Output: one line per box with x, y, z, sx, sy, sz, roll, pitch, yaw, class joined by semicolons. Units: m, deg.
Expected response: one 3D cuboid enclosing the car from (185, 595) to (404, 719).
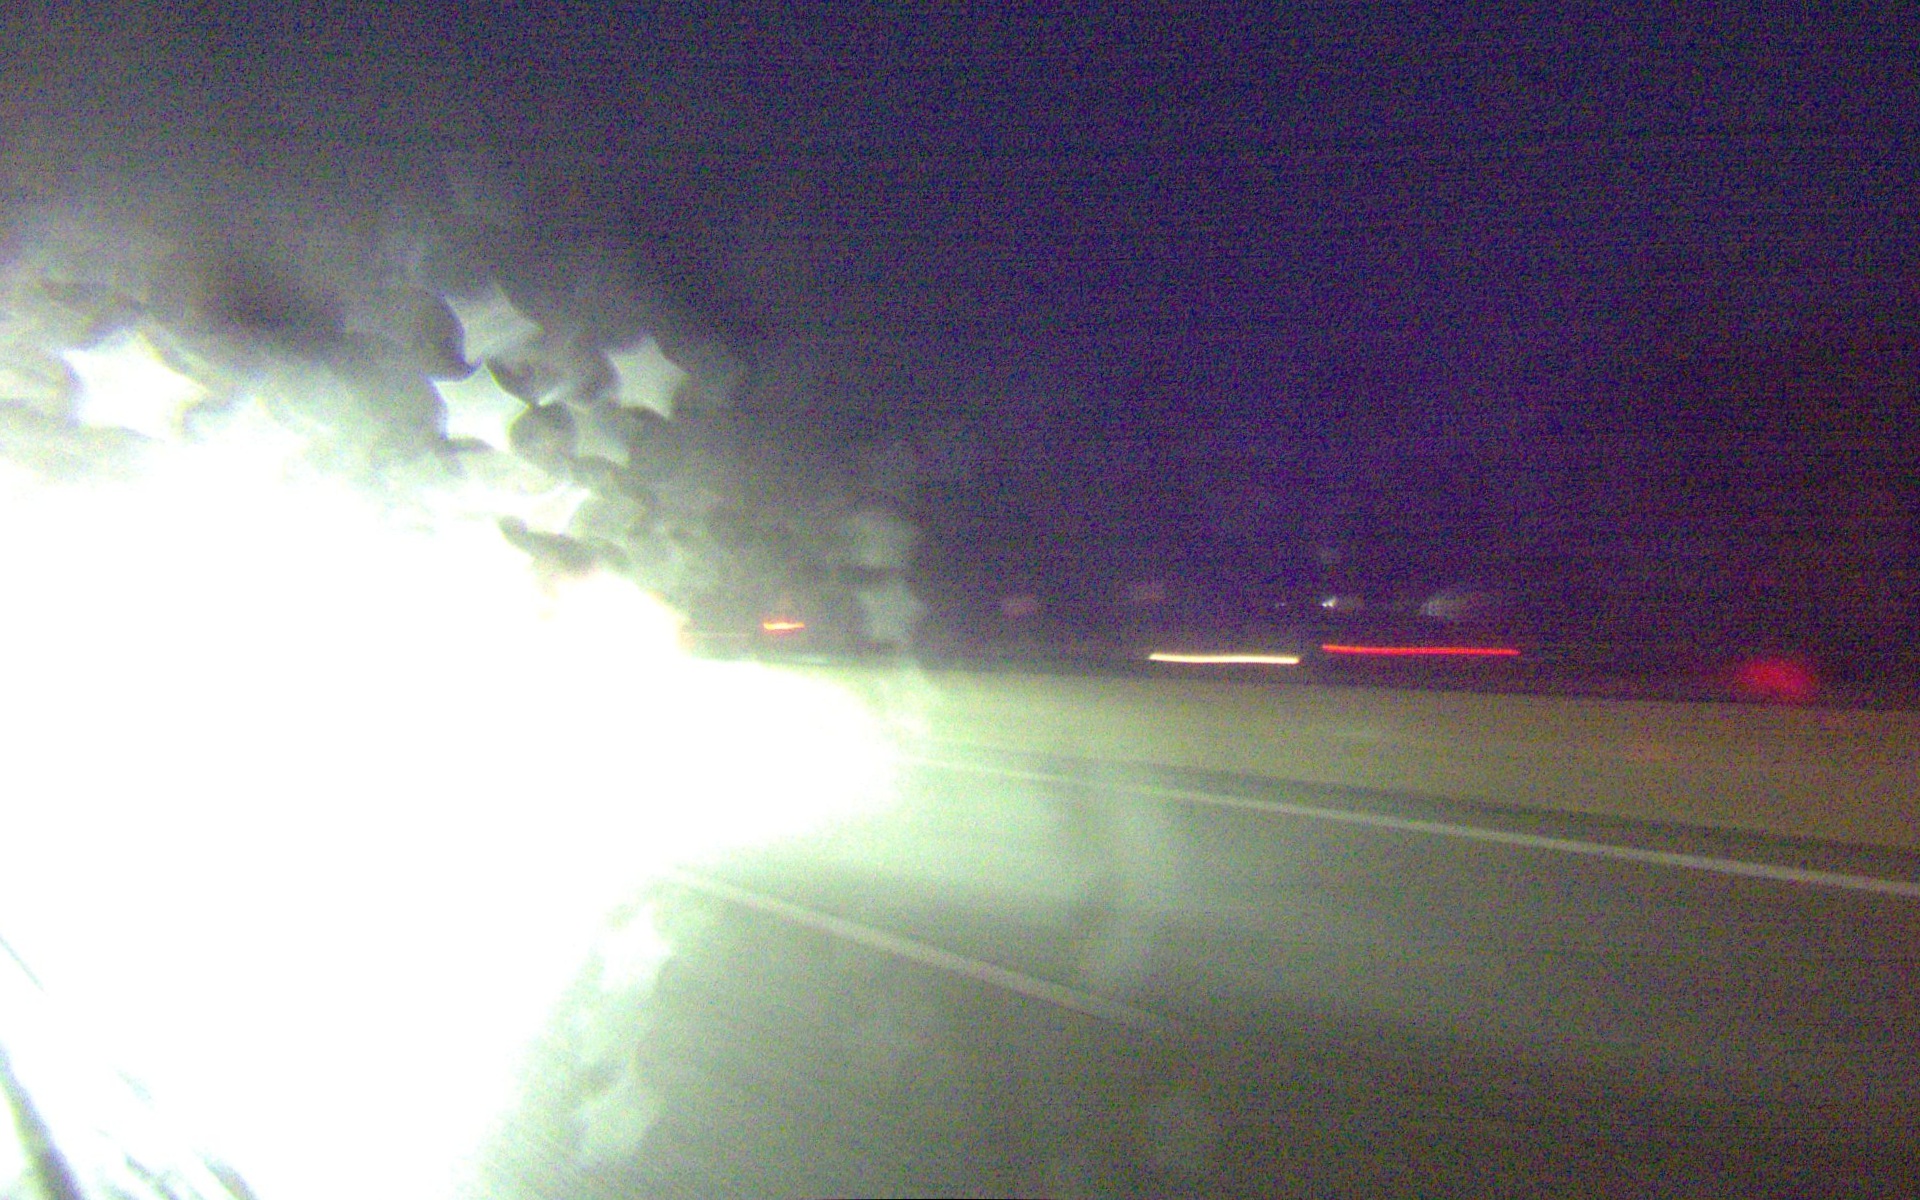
-12.043;0.890;18.120;5.557;1.899;2.113;0;-1;44;car

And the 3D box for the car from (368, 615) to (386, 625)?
-87.493;3.028;151.875;1.747;1.416;3.247;-1;-1;-39;car

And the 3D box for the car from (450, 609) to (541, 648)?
-18.872;1.135;41.055;4.292;1.471;1.819;0;-3;43;car

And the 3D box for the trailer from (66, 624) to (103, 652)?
-141.468;6.095;163.438;13.930;4.029;2.782;0;-3;43;trailer

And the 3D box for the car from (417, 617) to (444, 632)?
-68.406;3.206;130.725;1.970;1.785;4.573;-1;-1;-44;car

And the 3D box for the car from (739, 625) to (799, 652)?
-13.301;2.666;70.349;1.970;1.785;4.574;-1;-1;-43;car

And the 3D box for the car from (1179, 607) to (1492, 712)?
6.446;0.961;17.797;4.890;1.609;1.649;0;-3;43;car

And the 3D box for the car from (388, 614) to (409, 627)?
-88.723;3.211;159.855;1.969;1.947;4.692;-1;-1;-41;car

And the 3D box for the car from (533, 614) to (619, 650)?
-17.086;1.393;44.962;4.292;1.471;1.819;0;-3;43;car

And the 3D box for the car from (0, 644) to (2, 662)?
-74.169;4.055;76.862;3.989;1.304;1.689;-4;-5;41;car
